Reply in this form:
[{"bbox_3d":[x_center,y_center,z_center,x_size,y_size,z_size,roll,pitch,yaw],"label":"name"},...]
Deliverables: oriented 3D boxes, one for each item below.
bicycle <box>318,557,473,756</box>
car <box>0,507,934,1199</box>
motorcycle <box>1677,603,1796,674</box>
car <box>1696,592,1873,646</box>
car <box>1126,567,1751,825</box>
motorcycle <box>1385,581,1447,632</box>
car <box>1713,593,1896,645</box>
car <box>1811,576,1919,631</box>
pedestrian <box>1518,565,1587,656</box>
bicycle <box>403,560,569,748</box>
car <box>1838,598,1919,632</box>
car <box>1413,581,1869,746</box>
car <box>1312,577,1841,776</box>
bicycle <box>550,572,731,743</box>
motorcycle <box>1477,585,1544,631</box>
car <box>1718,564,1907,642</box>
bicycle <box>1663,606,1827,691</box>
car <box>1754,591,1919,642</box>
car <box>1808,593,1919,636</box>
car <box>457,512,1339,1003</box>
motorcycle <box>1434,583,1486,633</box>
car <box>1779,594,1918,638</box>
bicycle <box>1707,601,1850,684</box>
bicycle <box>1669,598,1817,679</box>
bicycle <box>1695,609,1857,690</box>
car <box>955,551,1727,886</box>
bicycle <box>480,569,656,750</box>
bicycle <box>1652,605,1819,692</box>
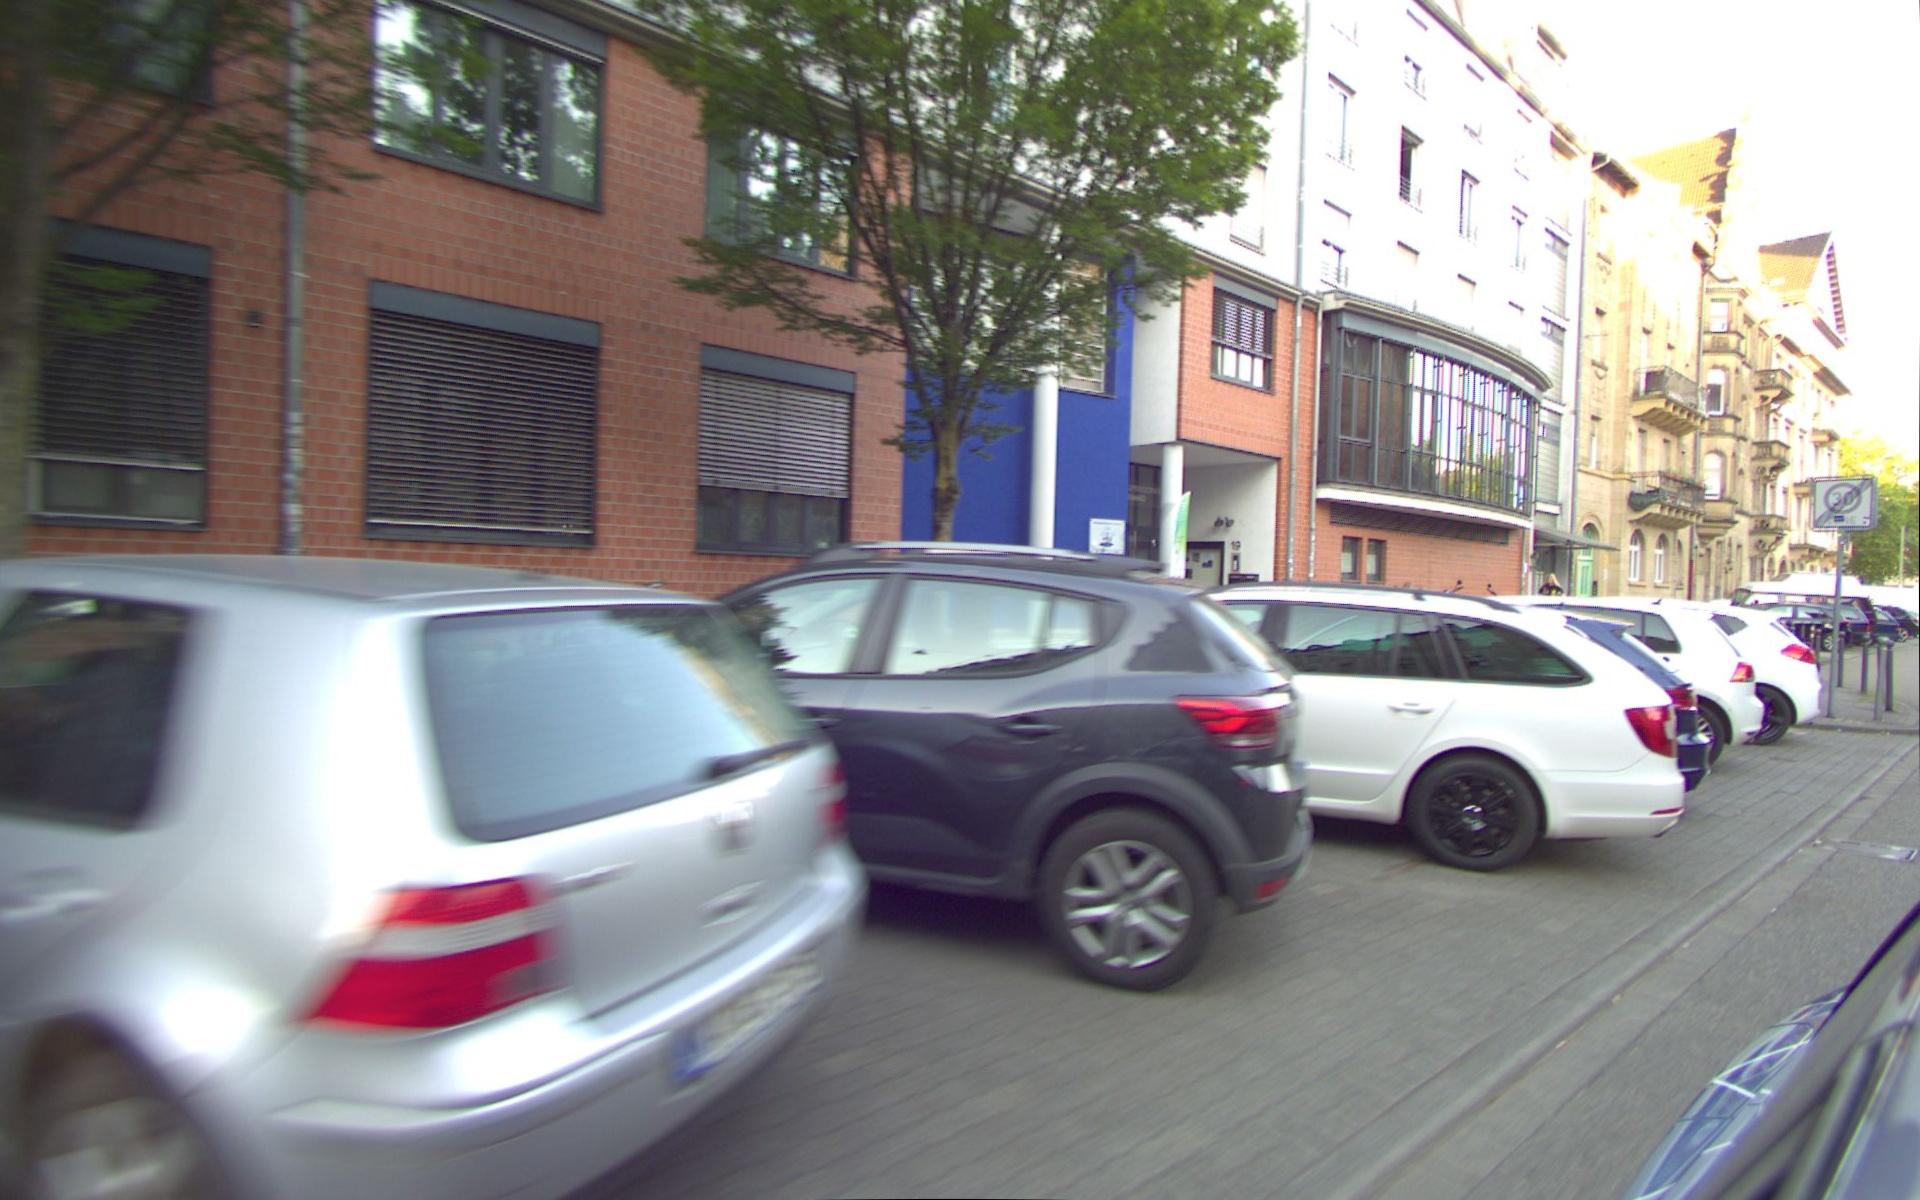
[{"bbox_3d":[-4.075,0.295,7.192,0.552,1.181,2.541,1,1,-38],"label":"bicycle"},{"bbox_3d":[-2.048,0.560,2.719,3.563,1.500,1.710,2,1,22],"label":"car"},{"bbox_3d":[14.274,0.684,18.624,1.643,1.115,0.637,6,3,41],"label":"motorcycle"},{"bbox_3d":[26.577,0.581,32.786,4.017,1.510,1.714,2,1,18],"label":"car"},{"bbox_3d":[3.420,0.574,7.930,3.948,1.541,1.700,2,3,19],"label":"car"},{"bbox_3d":[10.788,0.143,23.909,2.050,1.116,0.589,0,4,-45],"label":"motorcycle"},{"bbox_3d":[28.491,0.603,34.326,4.305,1.521,1.900,2,1,22],"label":"car"},{"bbox_3d":[48.988,0.183,53.368,5.787,2.582,2.192,3,3,9],"label":"car"},{"bbox_3d":[14.004,0.247,23.926,0.842,2.030,0.611,0,18,-40],"label":"pedestrian"},{"bbox_3d":[-3.618,0.302,7.581,0.552,1.181,2.541,1,1,-38],"label":"bicycle"},{"bbox_3d":[47.441,0.794,51.051,4.188,1.471,1.995,3,3,11],"label":"car"},{"bbox_3d":[7.463,0.608,11.603,3.950,1.525,1.759,2,1,20],"label":"car"},{"bbox_3d":[5.583,0.600,9.809,3.945,1.491,1.867,2,3,16],"label":"car"},{"bbox_3d":[-2.712,0.384,8.355,0.552,1.181,2.541,1,1,-38],"label":"bicycle"},{"bbox_3d":[14.903,0.212,27.367,2.398,1.153,0.801,1,3,-42],"label":"motorcycle"},{"bbox_3d":[30.245,0.043,36.101,4.667,2.578,1.906,2,2,20],"label":"car"},{"bbox_3d":[11.825,0.702,15.299,0.438,1.079,1.861,1,3,-42],"label":"bicycle"},{"bbox_3d":[32.640,0.578,37.714,4.343,1.504,1.833,4,3,19],"label":"car"},{"bbox_3d":[40.770,0.650,45.124,4.035,1.627,1.811,4,3,11],"label":"car"},{"bbox_3d":[-0.236,0.470,4.709,3.555,1.600,1.708,2,1,16],"label":"car"},{"bbox_3d":[12.592,0.181,25.446,0.773,1.153,2.385,4,3,35],"label":"motorcycle"},{"bbox_3d":[38.146,0.653,43.550,3.999,1.516,1.747,4,3,14],"label":"car"},{"bbox_3d":[13.389,0.669,16.592,0.464,1.190,1.711,1,3,-42],"label":"bicycle"},{"bbox_3d":[13.514,0.635,17.511,0.647,1.160,1.863,1,4,-41],"label":"bicycle"},{"bbox_3d":[12.598,0.741,15.677,0.464,1.051,1.861,1,3,-42],"label":"bicycle"},{"bbox_3d":[2.109,0.544,6.369,3.948,1.556,1.626,2,1,19],"label":"car"},{"bbox_3d":[-3.157,0.370,7.962,0.552,1.181,2.541,1,1,-38],"label":"bicycle"},{"bbox_3d":[11.402,0.684,14.934,0.438,1.079,1.861,1,3,-42],"label":"bicycle"}]
